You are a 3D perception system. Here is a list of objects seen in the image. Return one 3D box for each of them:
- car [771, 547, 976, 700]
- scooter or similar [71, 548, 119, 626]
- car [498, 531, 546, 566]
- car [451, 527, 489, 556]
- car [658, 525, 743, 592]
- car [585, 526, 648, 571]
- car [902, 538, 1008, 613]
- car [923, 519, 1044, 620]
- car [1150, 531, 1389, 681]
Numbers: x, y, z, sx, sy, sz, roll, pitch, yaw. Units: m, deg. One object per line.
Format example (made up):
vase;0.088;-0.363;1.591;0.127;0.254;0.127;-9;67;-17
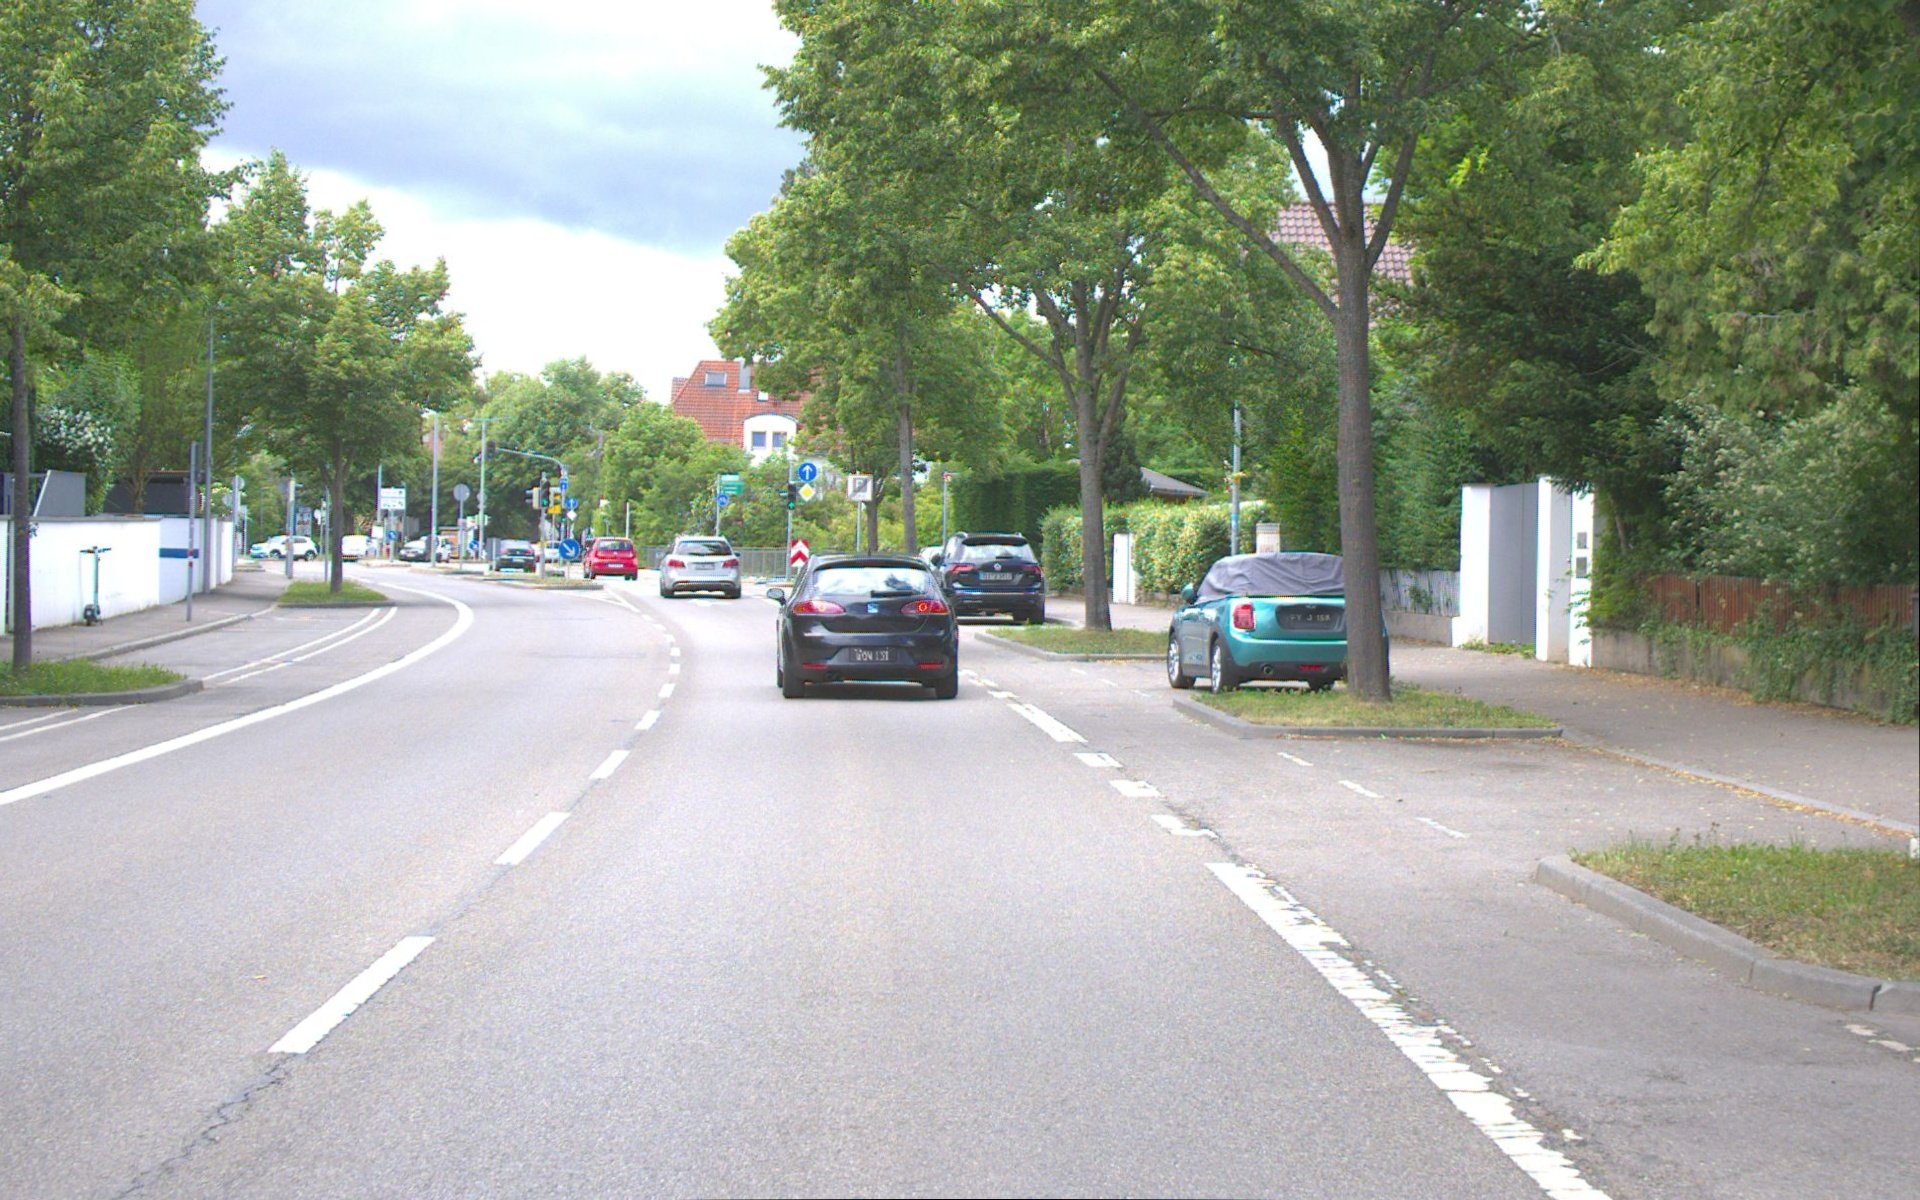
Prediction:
car;-0.819;0.204;34.741;1.783;1.444;3.557;1;1;3
scooter or similar;-13.039;-0.201;51.844;0.501;1.150;1.301;0;1;-6
car;-19.534;-2.292;153.458;1.993;1.503;4.001;1;0;-5
car;-29.462;-3.513;206.929;1.973;1.670;3.877;1;1;-4
car;-6.230;-0.984;82.710;1.993;1.552;4.001;-1;1;-4
car;-11.839;-1.782;118.292;1.993;1.525;4.001;0;1;-8
car;-0.126;-0.501;68.336;1.685;1.444;3.580;0;1;-7
car;0.399;-0.565;62.575;1.788;1.765;3.983;0;1;-5
car;3.080;0.020;34.963;1.683;1.427;4.045;0;1;-6
